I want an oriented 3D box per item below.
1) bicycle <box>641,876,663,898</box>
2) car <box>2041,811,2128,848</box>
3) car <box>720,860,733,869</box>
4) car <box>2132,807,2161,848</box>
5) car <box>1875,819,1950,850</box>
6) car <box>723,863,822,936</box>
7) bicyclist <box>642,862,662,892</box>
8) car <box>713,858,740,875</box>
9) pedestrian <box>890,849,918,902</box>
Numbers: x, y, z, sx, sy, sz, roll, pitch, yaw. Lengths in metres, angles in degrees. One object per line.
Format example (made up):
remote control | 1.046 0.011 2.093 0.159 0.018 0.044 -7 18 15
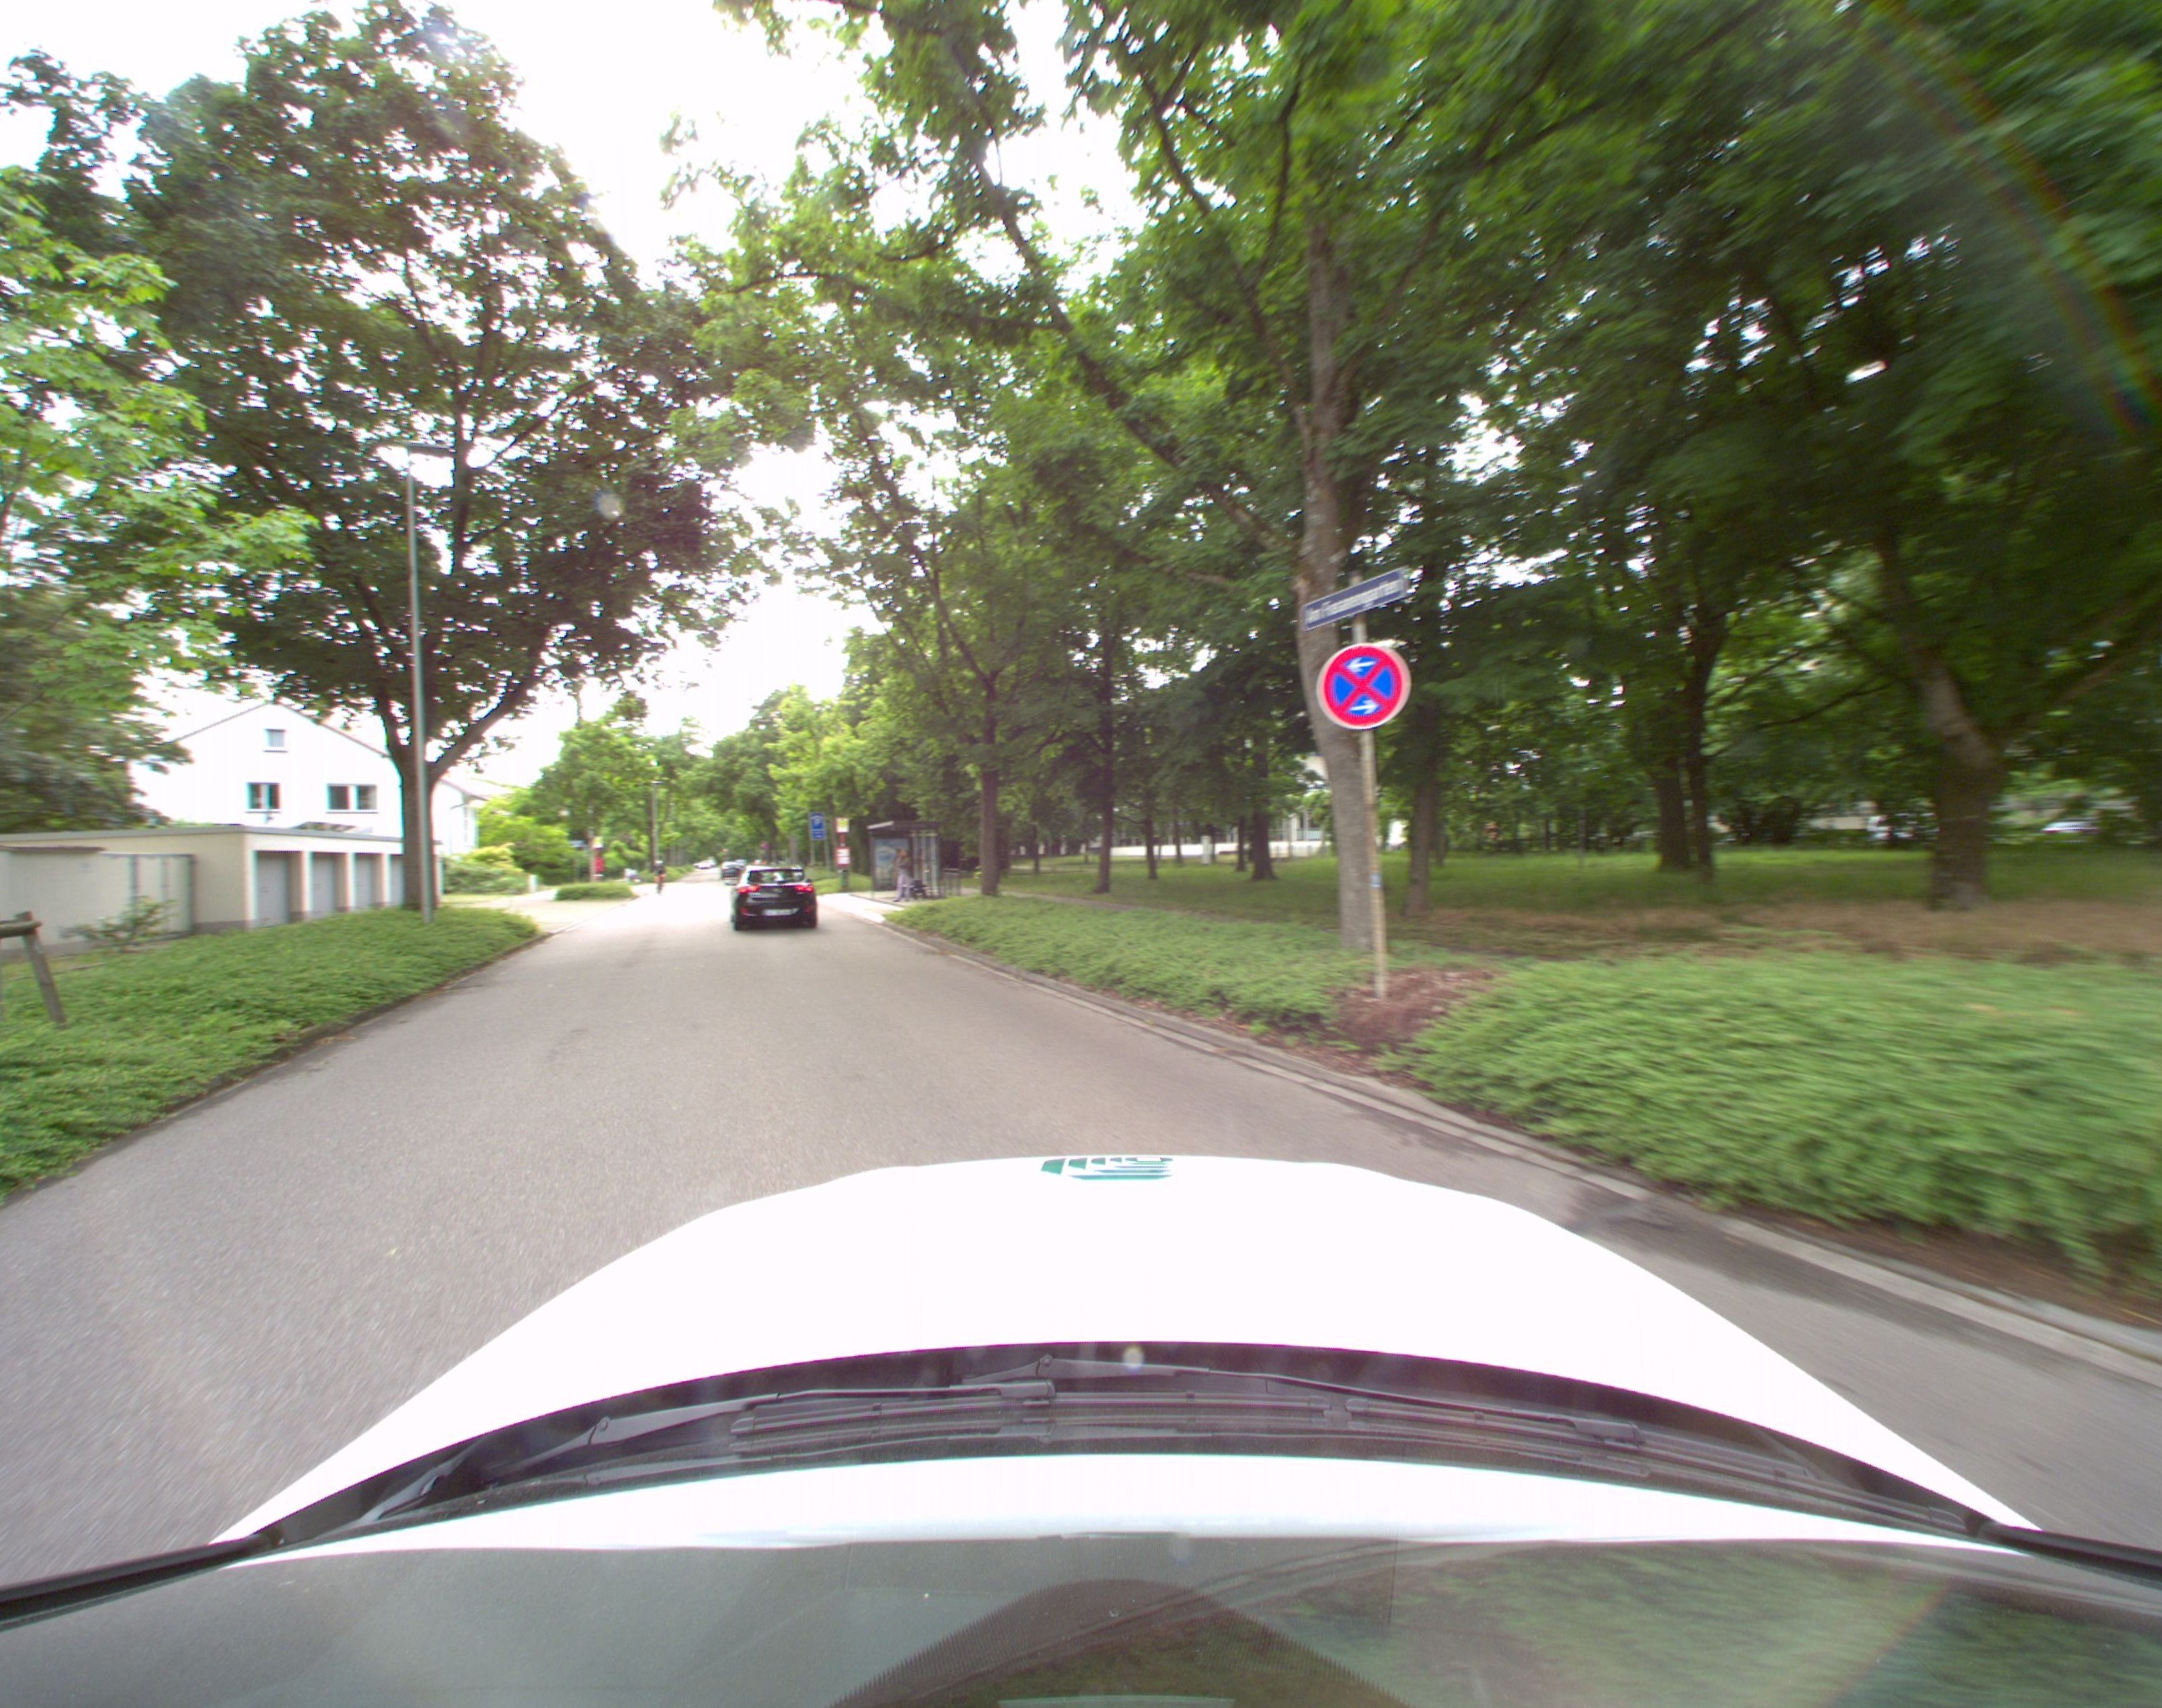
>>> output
bicycle | -21.573 1.639 40.999 0.798 1.025 2.544 -2 1 -24
car | 47.601 -1.174 38.634 4.012 1.618 1.981 -2 0 -30
car | -64.928 1.895 149.186 2.003 1.486 3.967 -3 1 -25
car | 48.691 -1.181 36.152 4.012 1.728 1.981 0 -1 -30
car | 45.308 -1.069 44.375 4.012 1.618 1.905 -2 0 -30
car | -7.349 0.967 19.205 1.855 1.462 3.795 -1 0 -25
bicyclist | -21.628 1.136 41.084 0.788 1.469 0.930 -2 0 -23
car | -32.000 1.136 73.433 1.875 1.462 4.080 -2 0 -28
pedestrian | -5.495 0.665 25.224 0.657 1.583 0.692 -2 0 -25
